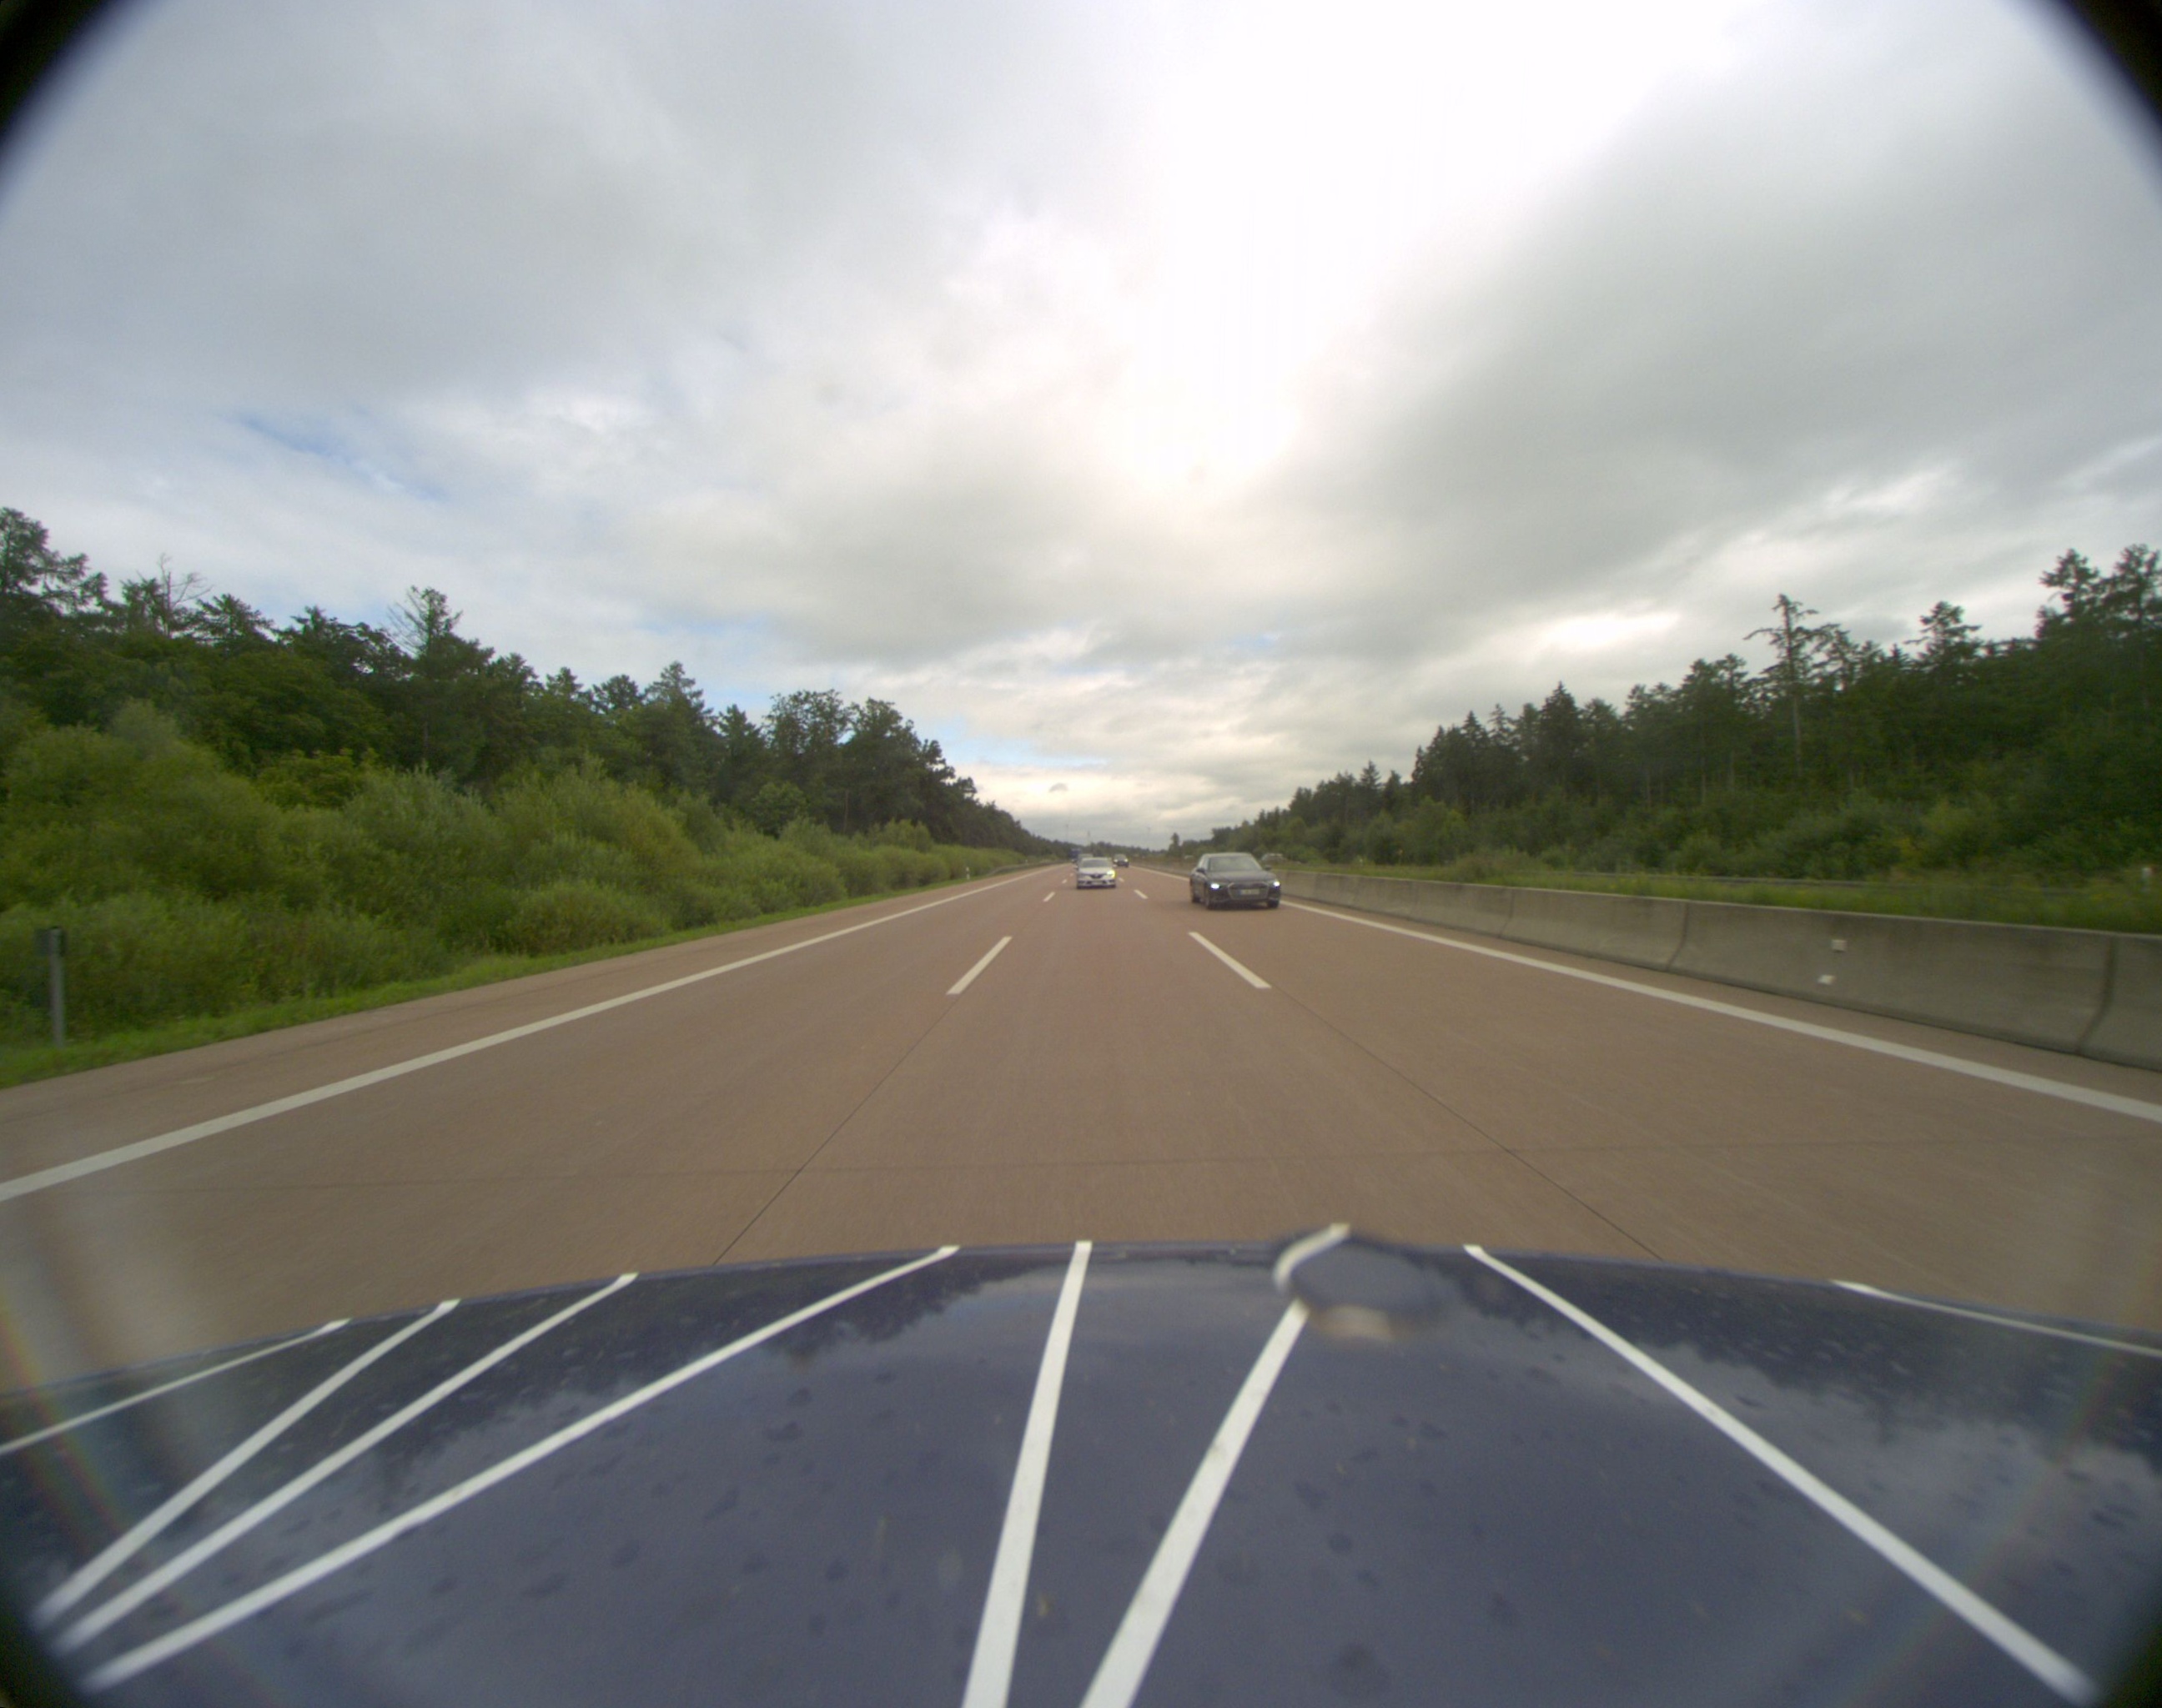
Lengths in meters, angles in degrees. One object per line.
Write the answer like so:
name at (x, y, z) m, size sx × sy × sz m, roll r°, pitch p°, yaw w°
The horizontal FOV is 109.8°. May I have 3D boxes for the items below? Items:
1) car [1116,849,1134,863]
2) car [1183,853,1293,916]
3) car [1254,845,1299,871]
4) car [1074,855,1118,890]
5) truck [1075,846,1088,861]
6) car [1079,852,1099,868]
car at (5.539, 0.209, 95.702) m, size 1.998 × 1.689 × 5.252 m, roll -2°, pitch 1°, yaw 1°
car at (4.317, 0.766, 21.809) m, size 2.064 × 1.483 × 5.453 m, roll -2°, pitch 0°, yaw 1°
car at (16.692, 0.298, 65.119) m, size 2.352 × 2.018 × 5.854 m, roll -2°, pitch 0°, yaw 1°
car at (0.775, 0.821, 36.208) m, size 1.923 × 1.516 × 4.001 m, roll -2°, pitch 0°, yaw 3°
truck at (0.149, -0.133, 210.114) m, size 2.956 × 3.705 × 7.950 m, roll -5°, pitch 0°, yaw 1°
car at (0.828, 0.626, 78.721) m, size 1.986 × 1.499 × 4.052 m, roll -2°, pitch 0°, yaw 1°
